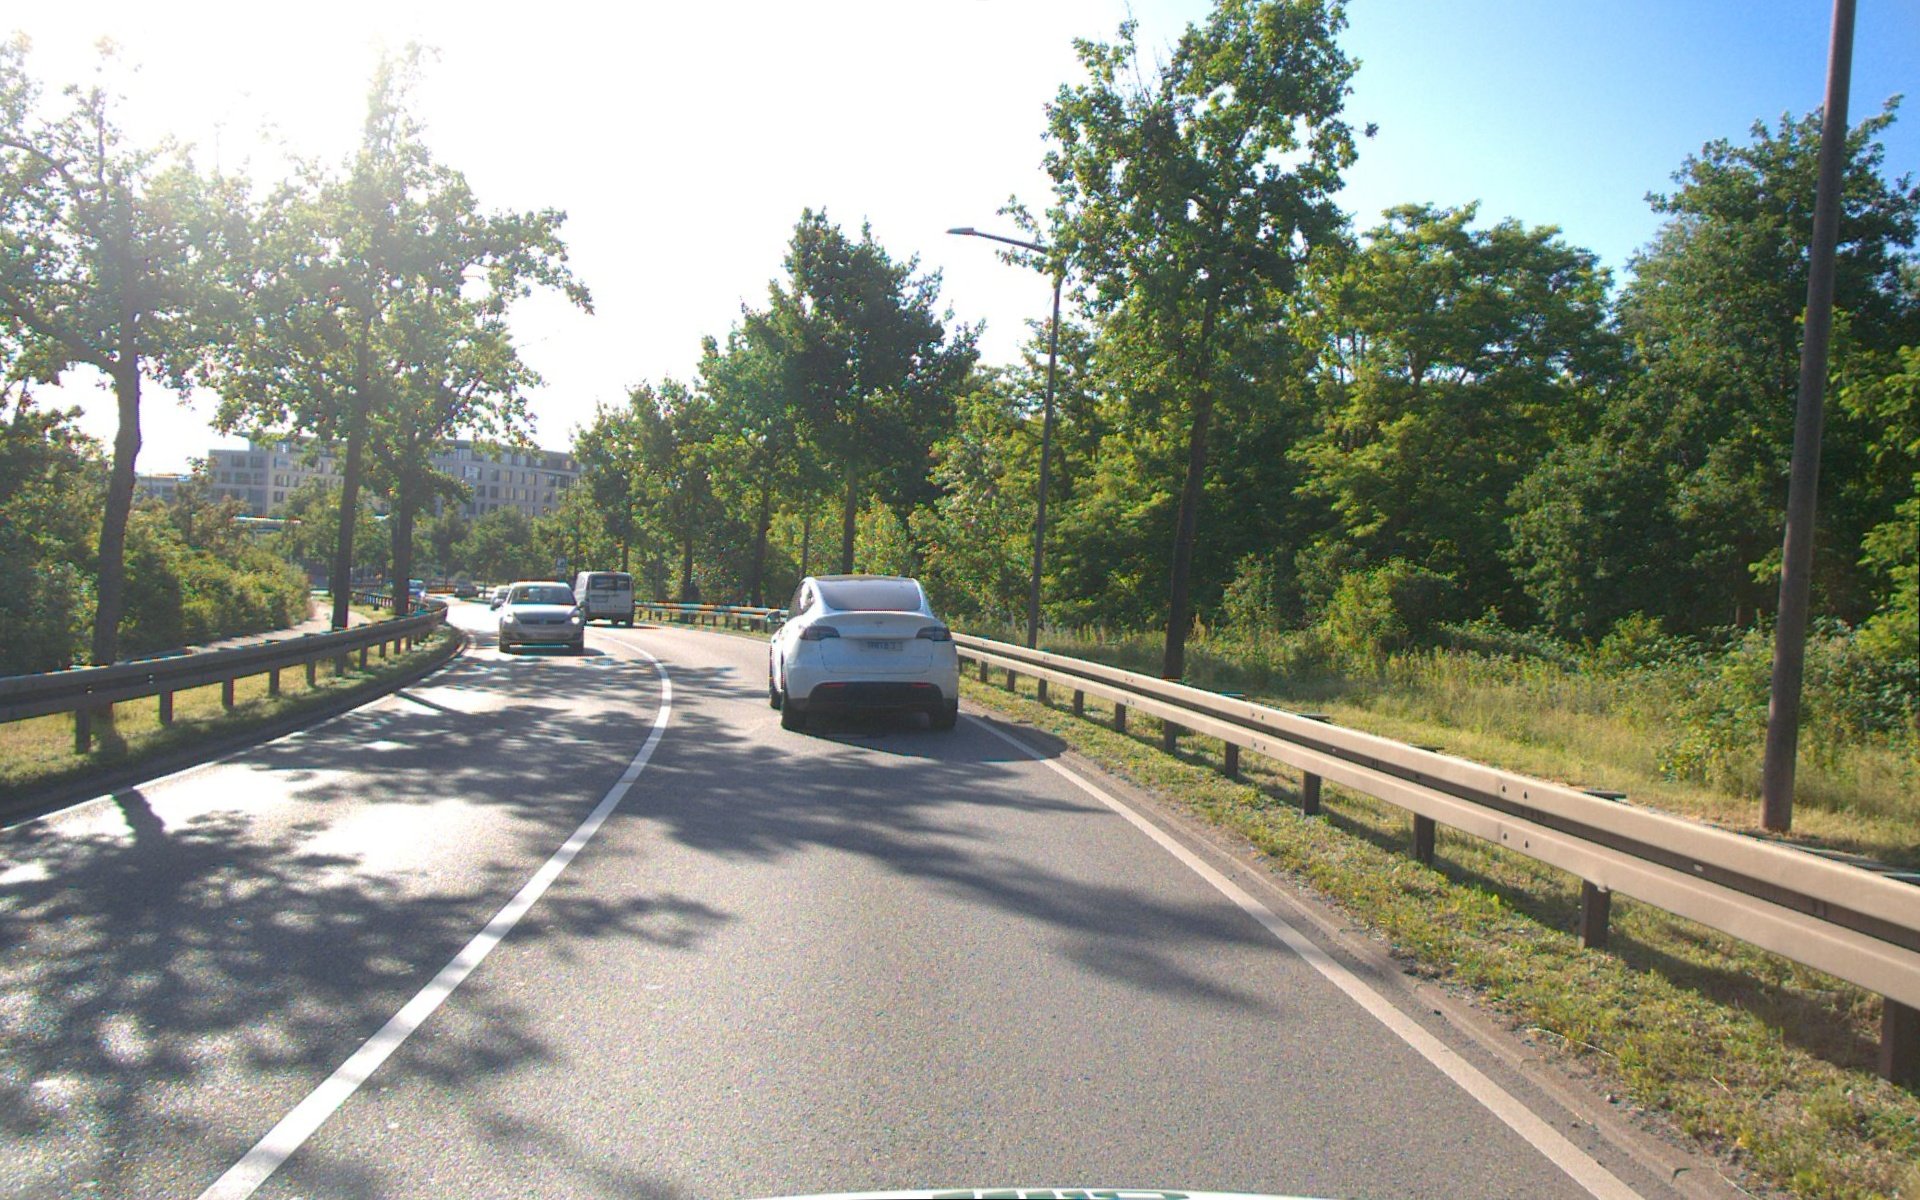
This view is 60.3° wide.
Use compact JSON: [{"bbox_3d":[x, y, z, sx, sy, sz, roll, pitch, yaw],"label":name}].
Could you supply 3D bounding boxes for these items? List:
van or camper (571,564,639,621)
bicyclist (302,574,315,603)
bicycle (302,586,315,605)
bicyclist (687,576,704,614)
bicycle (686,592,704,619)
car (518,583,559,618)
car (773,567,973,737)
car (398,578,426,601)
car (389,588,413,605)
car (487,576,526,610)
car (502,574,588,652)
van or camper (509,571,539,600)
[{"bbox_3d":[-12.916,-0.274,60.043,1.928,1.917,4.856,2,0,-18],"label":"van or camper"},{"bbox_3d":[-38.902,-0.686,98.730,0.642,1.652,0.868,2,0,-23],"label":"bicyclist"},{"bbox_3d":[-38.827,-0.294,98.549,0.651,1.114,2.093,2,0,-23],"label":"bicycle"},{"bbox_3d":[-11.260,-0.215,70.410,0.694,1.606,1.002,2,-1,-9],"label":"bicyclist"},{"bbox_3d":[-11.275,0.237,70.420,0.688,1.093,1.917,2,-2,-8],"label":"bicycle"},{"bbox_3d":[-19.415,0.034,76.156,1.579,1.459,3.660,4,-1,-17],"label":"car"},{"bbox_3d":[-1.113,0.520,18.814,1.878,1.669,4.402,2,0,-8],"label":"car"},{"bbox_3d":[-39.380,-0.778,118.812,1.782,1.581,4.117,2,0,-19],"label":"car"},{"bbox_3d":[-52.541,-0.344,155.316,1.824,1.518,4.684,2,0,-22],"label":"car"},{"bbox_3d":[-26.860,-0.419,98.083,1.877,1.833,4.115,4,0,-13],"label":"car"},{"bbox_3d":[-8.958,0.254,35.699,1.667,1.545,3.966,2,0,-14],"label":"car"},{"bbox_3d":[-32.087,-1.068,121.611,1.798,1.821,4.522,4,1,-18],"label":"van or camper"}]
